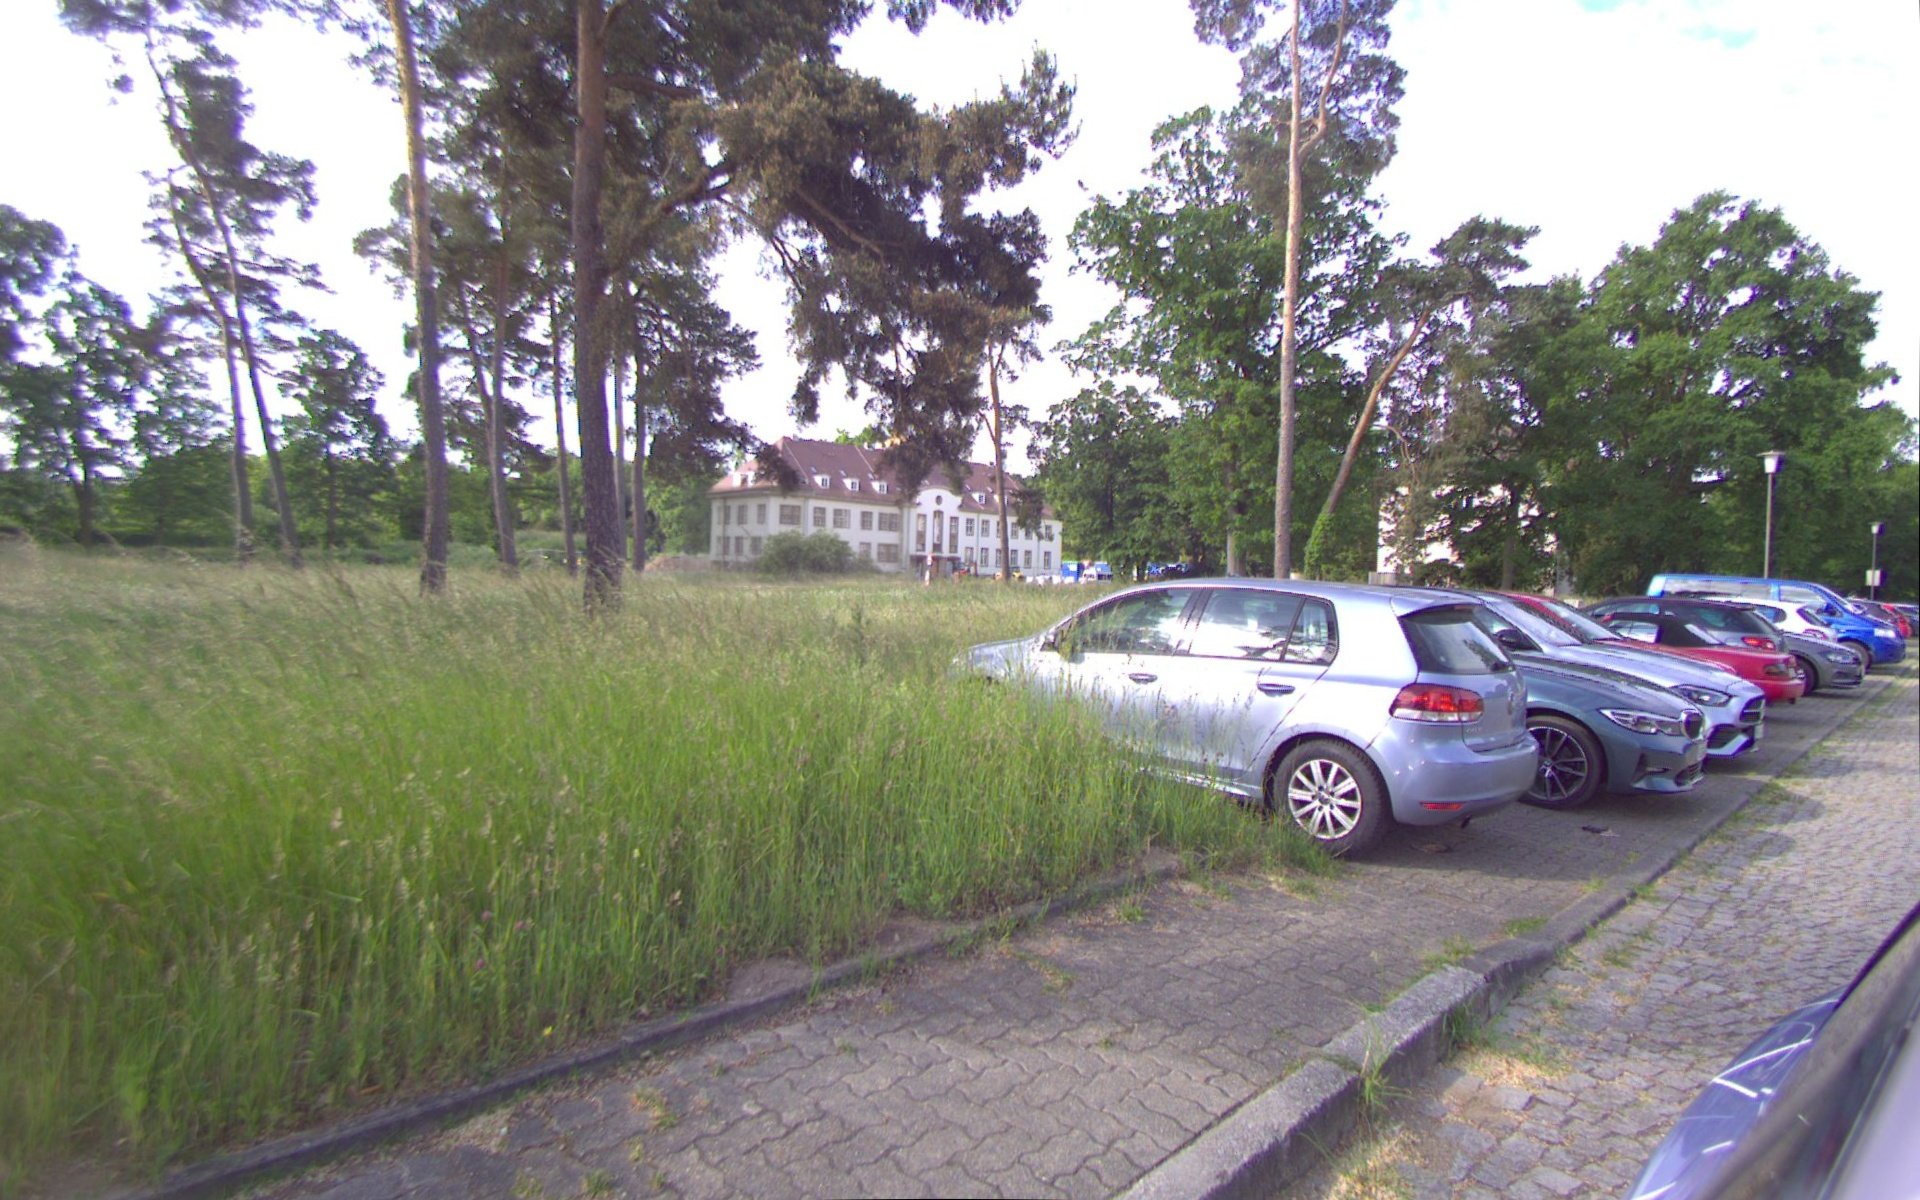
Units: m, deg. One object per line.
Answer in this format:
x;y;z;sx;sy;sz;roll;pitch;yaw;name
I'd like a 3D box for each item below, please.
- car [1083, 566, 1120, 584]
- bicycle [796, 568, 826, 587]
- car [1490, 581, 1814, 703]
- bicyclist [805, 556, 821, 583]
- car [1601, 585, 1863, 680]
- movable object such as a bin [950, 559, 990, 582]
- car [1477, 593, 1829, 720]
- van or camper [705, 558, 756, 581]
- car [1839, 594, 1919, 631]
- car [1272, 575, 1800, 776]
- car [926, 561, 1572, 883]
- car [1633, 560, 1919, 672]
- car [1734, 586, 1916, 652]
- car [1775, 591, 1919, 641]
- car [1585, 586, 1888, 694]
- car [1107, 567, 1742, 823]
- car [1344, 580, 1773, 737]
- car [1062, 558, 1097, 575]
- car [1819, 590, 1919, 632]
15.129;-2.670;108.238;3.867;1.704;1.847;0;4;-41;car
-10.012;-1.518;68.244;1.946;1.223;0.638;0;2;-41;bicycle
10.497;0.541;15.551;1.578;1.522;3.833;0;2;-43;car
-9.940;-2.041;68.302;0.829;1.756;0.667;0;0;-40;bicyclist
14.740;0.548;19.473;1.554;1.517;3.760;0;2;-41;car
1.282;-3.629;125.298;1.992;2.802;5.126;3;2;41;movable object such as a bin
9.021;0.652;13.374;1.580;1.302;3.552;2;1;-42;car
-24.276;-3.225;107.067;6.057;2.250;1.971;3;2;40;van or camper
42.918;0.573;46.283;1.643;1.548;3.838;0;2;-38;car
5.610;0.571;10.294;1.738;1.446;4.330;0;3;-44;car
1.688;0.532;6.787;3.844;1.489;1.615;3;2;45;car
18.584;0.248;23.073;2.025;2.047;4.951;0;4;-42;car
24.691;0.493;28.981;3.828;1.621;1.556;3;2;43;car
31.783;0.521;36.293;3.828;1.543;1.556;3;2;43;car
12.953;0.586;17.060;1.614;1.483;3.779;0;2;-41;car
3.623;0.537;8.536;4.515;1.501;1.779;4;2;44;car
6.994;0.552;12.169;1.690;1.440;4.114;0;2;-42;car
15.004;-4.169;126.869;3.927;2.038;2.219;0;2;-39;car
39.416;0.458;43.245;1.552;1.638;3.838;0;2;-38;car
